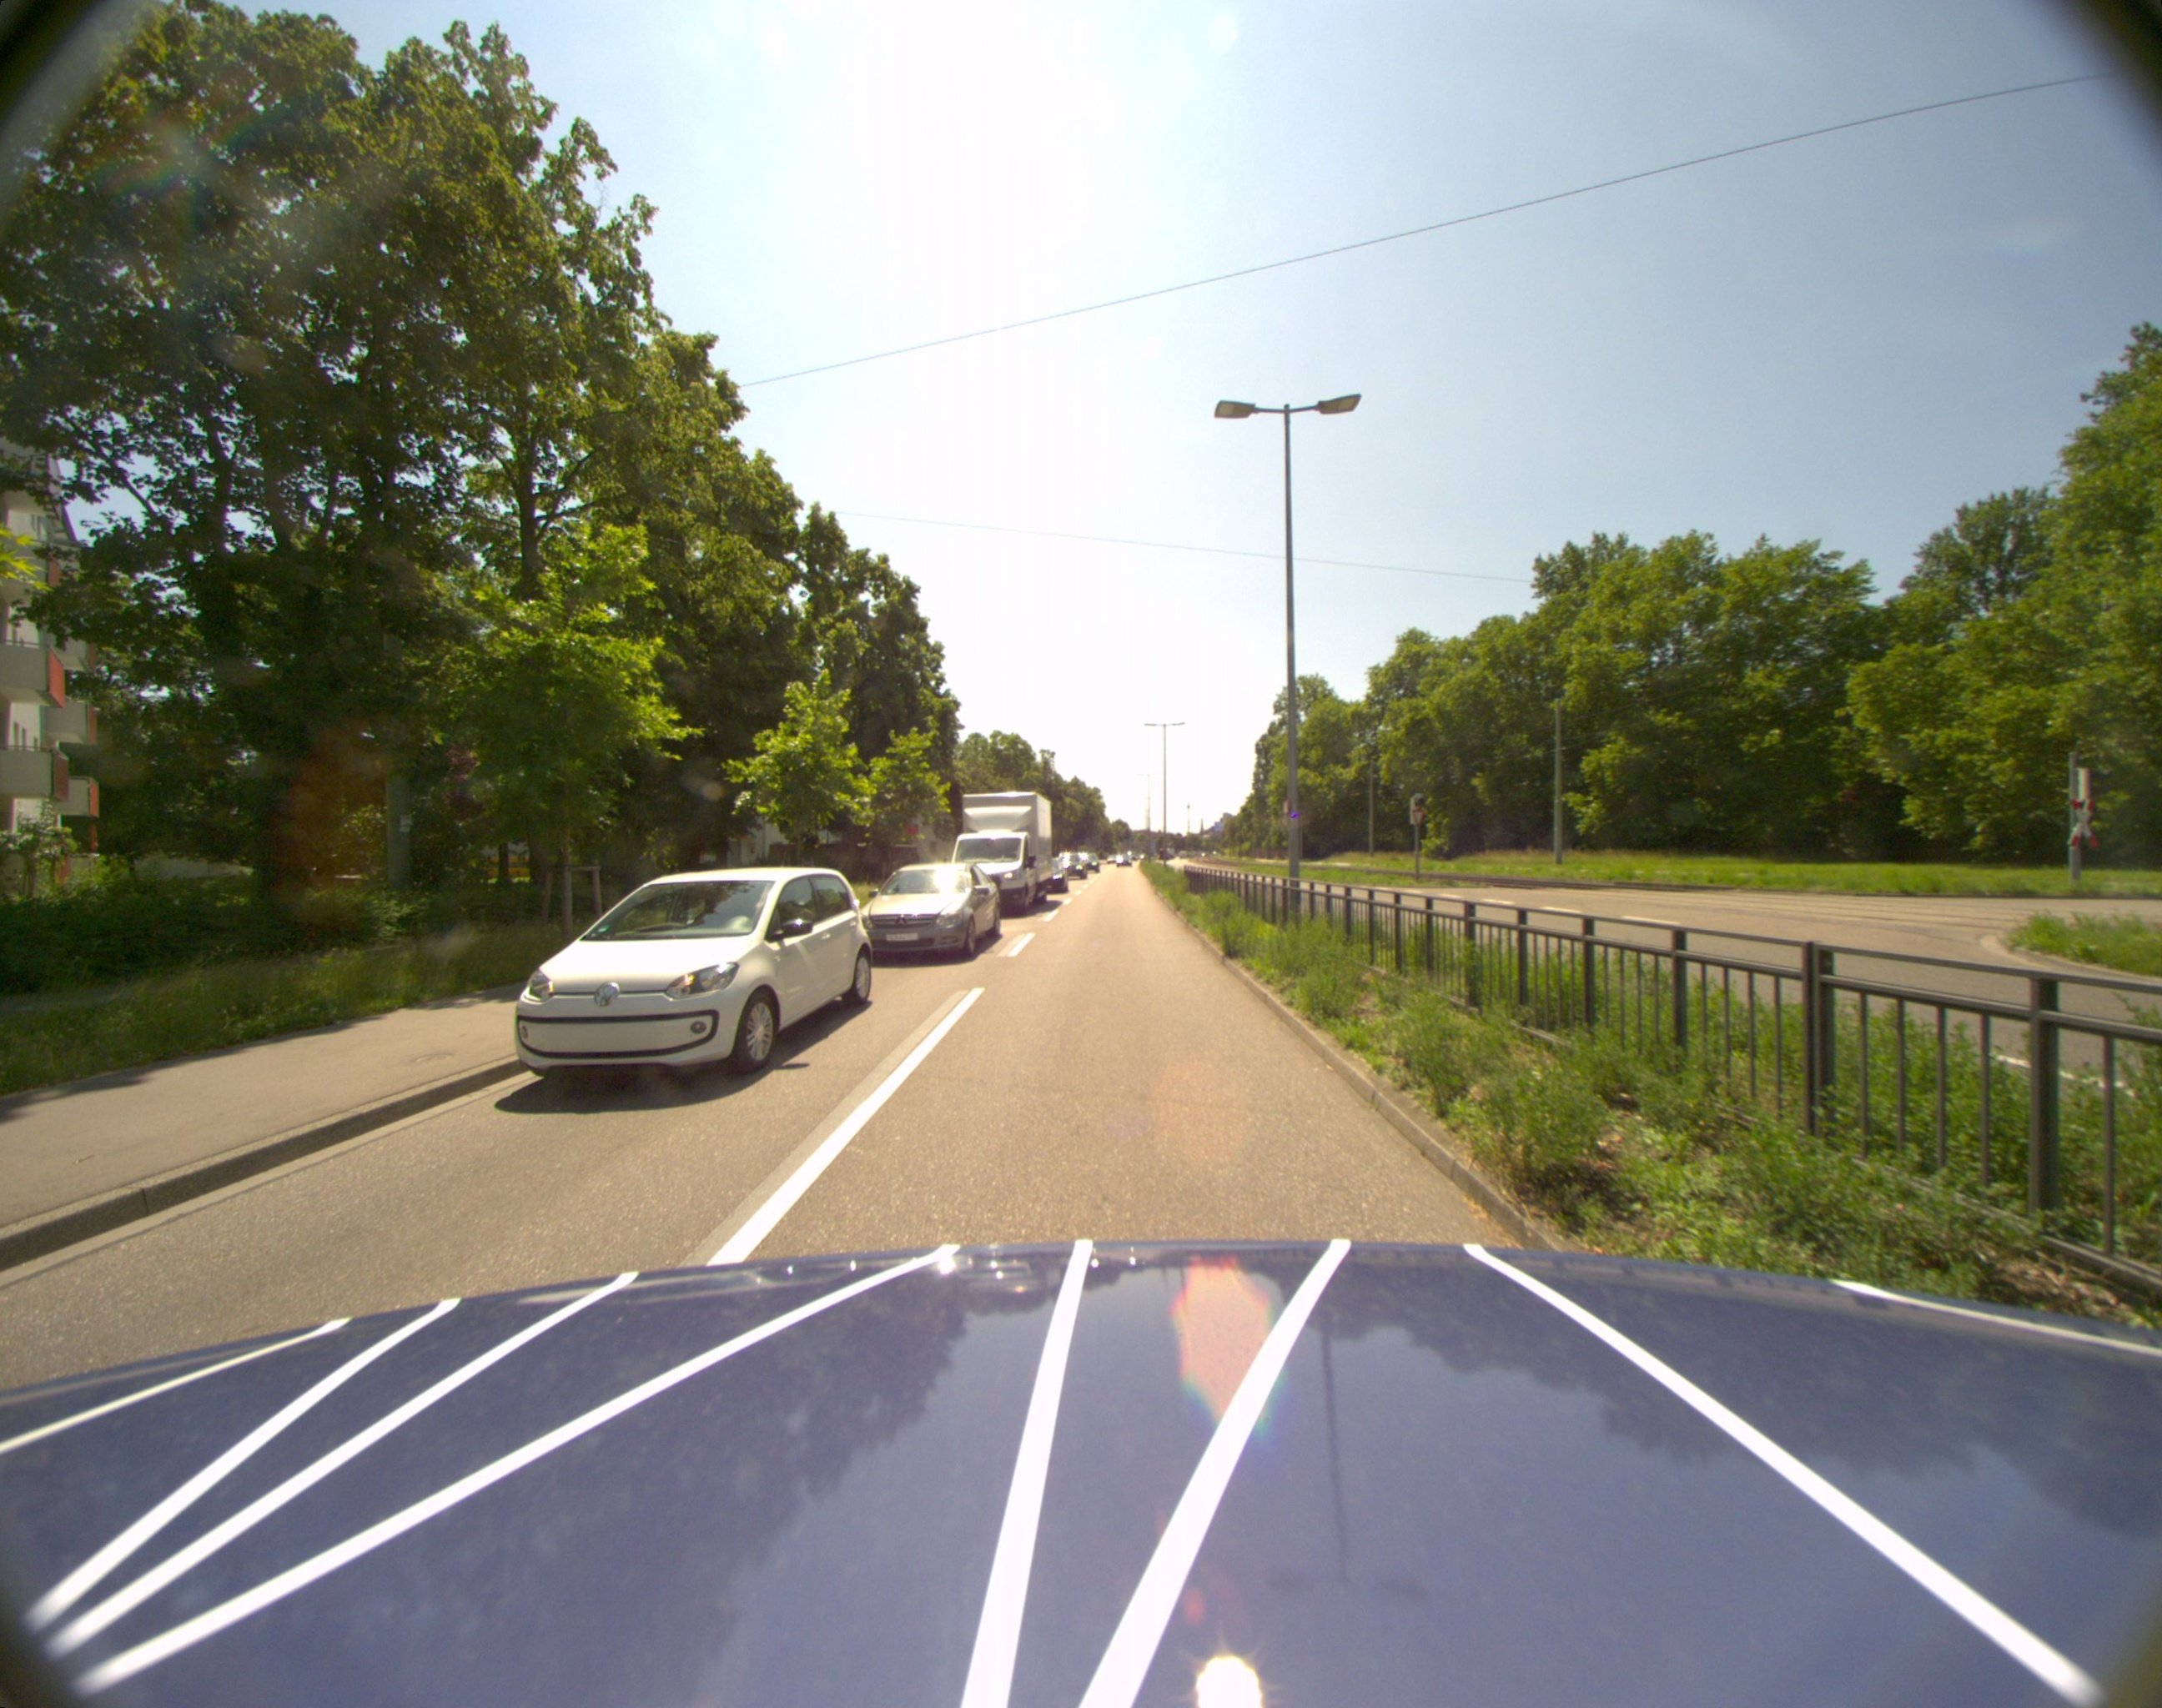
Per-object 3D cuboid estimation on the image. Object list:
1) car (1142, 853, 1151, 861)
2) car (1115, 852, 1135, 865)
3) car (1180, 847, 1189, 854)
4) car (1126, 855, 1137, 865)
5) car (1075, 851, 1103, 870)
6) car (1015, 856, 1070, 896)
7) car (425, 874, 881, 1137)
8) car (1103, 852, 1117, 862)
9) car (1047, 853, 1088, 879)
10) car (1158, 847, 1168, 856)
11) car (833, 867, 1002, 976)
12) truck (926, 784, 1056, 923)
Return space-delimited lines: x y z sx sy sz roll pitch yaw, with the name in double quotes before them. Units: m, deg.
"car" 15.301 0.767 176.651 1.998 1.847 4.001 -1 0 5
"car" 5.097 0.498 87.176 1.997 1.499 4.002 -1 0 7
"car" 27.392 -0.950 200.823 1.998 1.847 4.001 -1 0 5
"car" 10.198 1.236 153.576 1.998 1.847 4.001 -1 0 5
"car" 0.722 0.511 64.329 1.997 1.499 4.002 -1 0 7
"car" -1.507 0.867 31.494 1.998 1.499 4.000 -1 0 1
"car" -3.127 0.987 6.560 1.730 1.470 3.771 -1 0 1
"car" 4.611 0.506 121.625 1.951 1.499 4.002 -1 0 7
"car" -0.803 0.689 47.441 1.997 1.499 4.002 -1 0 7
"car" 16.632 -0.484 154.024 1.997 1.847 4.002 -1 0 7
"car" -2.475 0.974 12.581 1.840 1.400 4.087 -1 0 1
"truck" -2.299 -0.038 22.317 2.433 3.326 7.922 -1 0 3
